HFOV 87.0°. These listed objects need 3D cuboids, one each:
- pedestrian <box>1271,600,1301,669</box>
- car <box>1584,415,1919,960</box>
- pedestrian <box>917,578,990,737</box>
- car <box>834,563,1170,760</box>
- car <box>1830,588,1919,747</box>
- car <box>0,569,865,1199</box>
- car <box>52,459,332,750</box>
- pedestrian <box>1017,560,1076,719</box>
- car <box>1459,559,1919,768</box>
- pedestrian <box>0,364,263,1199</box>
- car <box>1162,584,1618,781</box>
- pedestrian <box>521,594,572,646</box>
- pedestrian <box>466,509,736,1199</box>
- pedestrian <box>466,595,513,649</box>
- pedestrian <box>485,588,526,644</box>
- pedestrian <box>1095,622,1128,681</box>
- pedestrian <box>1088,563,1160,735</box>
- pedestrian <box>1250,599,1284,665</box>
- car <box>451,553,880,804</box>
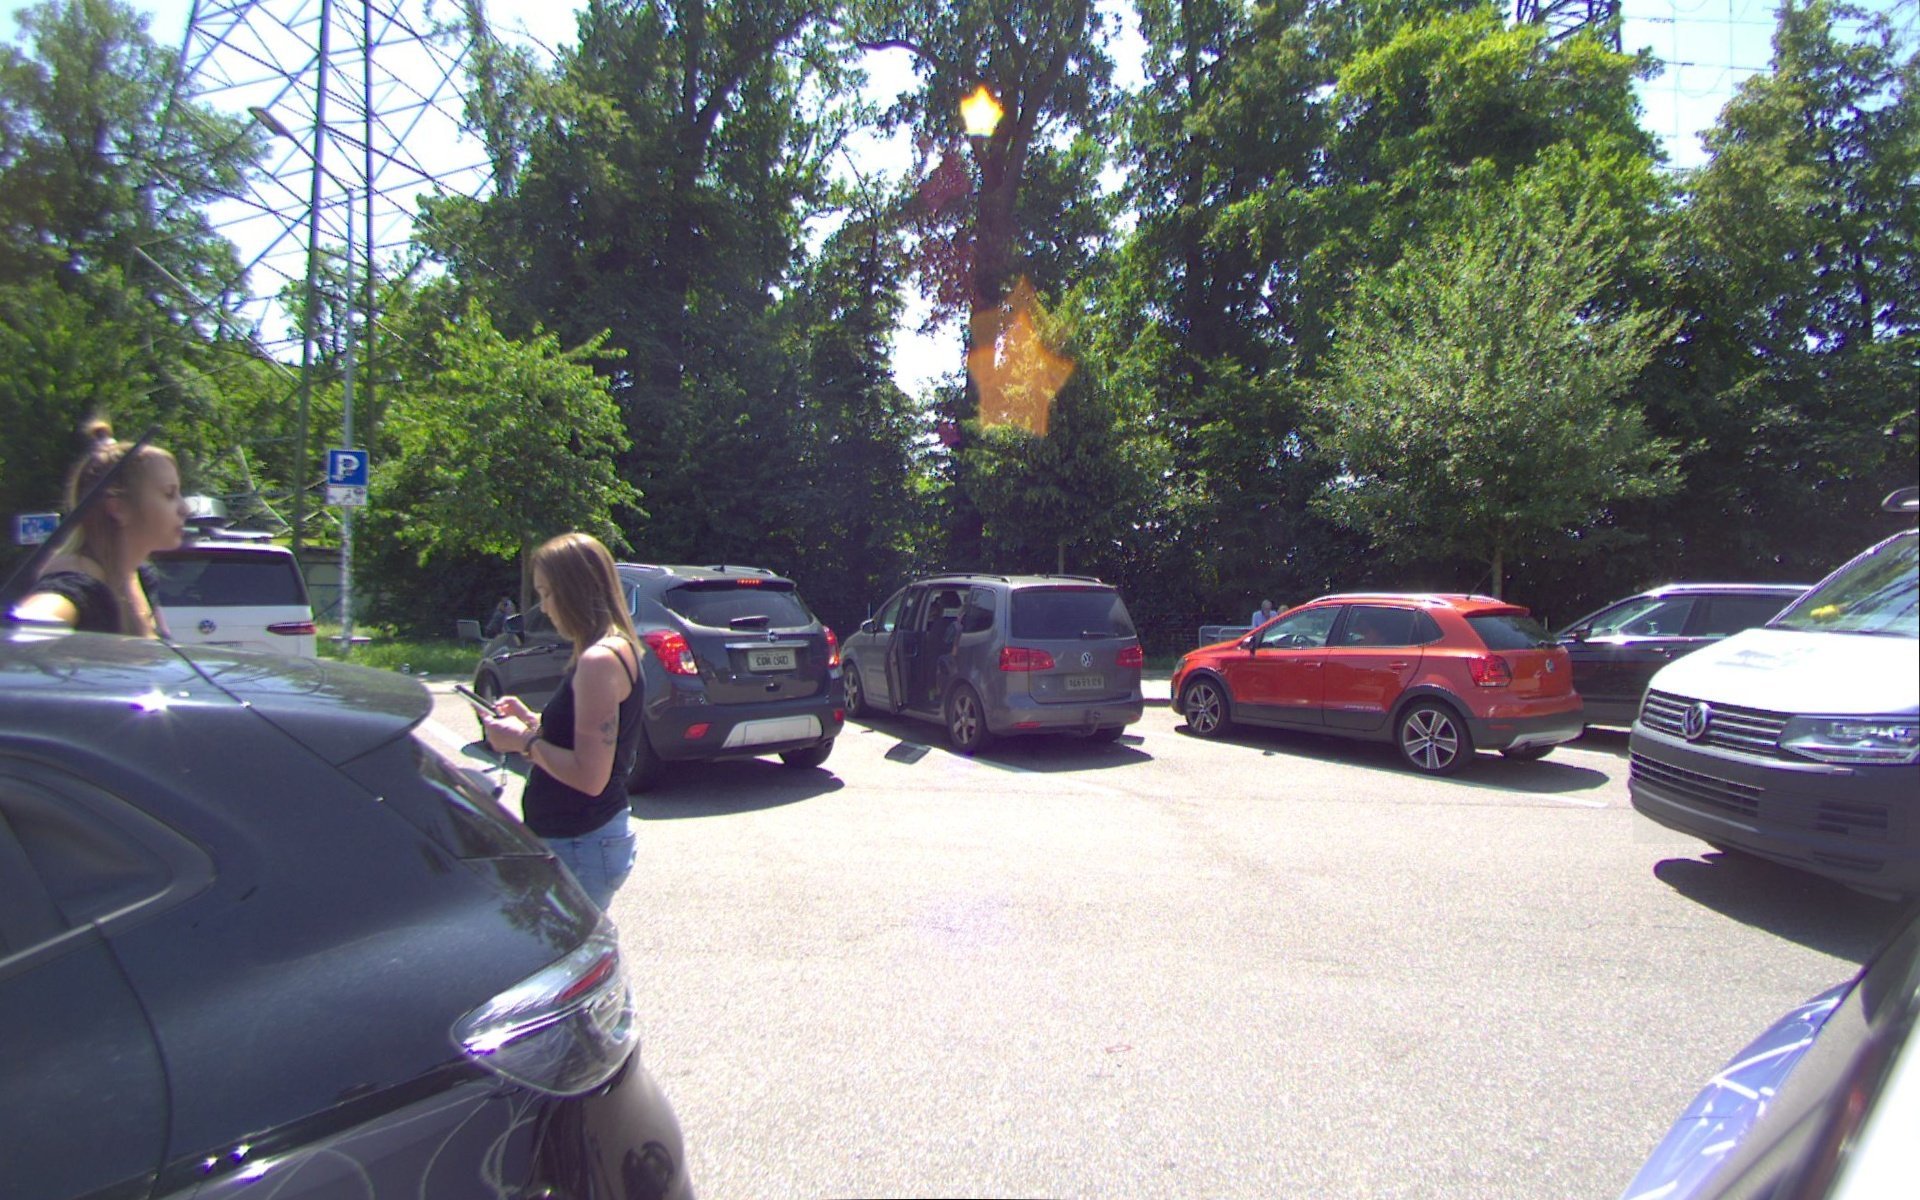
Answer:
[{"bbox_3d":[5.805,0.605,18.020,0.348,1.207,0.367,0,0,-20],"label":"pedestrian"},{"bbox_3d":[6.207,0.360,4.690,5.336,2.131,1.842,1,1,4],"label":"car"},{"bbox_3d":[-0.068,0.548,10.044,0.511,1.516,0.560,0,0,-30],"label":"pedestrian"},{"bbox_3d":[0.226,0.499,10.531,1.670,1.637,3.912,0,0,-30],"label":"car"},{"bbox_3d":[10.347,0.644,8.921,1.813,1.473,3.776,1,0,-36],"label":"car"},{"bbox_3d":[-2.018,0.719,0.819,1.776,1.476,3.629,0,1,43],"label":"car"},{"bbox_3d":[-8.372,0.028,10.819,1.897,2.400,4.963,1,-1,-43],"label":"car"},{"bbox_3d":[0.970,0.432,11.409,0.500,1.744,0.438,0,0,-24],"label":"pedestrian"},{"bbox_3d":[7.130,0.497,9.709,1.679,1.637,3.863,1,0,-40],"label":"car"},{"bbox_3d":[-1.978,0.488,2.397,0.478,1.883,0.913,1,-1,-33],"label":"pedestrian"},{"bbox_3d":[3.852,0.618,9.644,1.588,1.485,3.751,1,0,-34],"label":"car"},{"bbox_3d":[-9.657,0.453,23.650,0.810,1.201,0.836,0,0,40],"label":"pedestrian"},{"bbox_3d":[-0.932,0.600,2.624,0.477,1.614,0.502,1,-1,-44],"label":"pedestrian"},{"bbox_3d":[-10.573,0.473,22.743,0.785,1.178,0.696,0,0,39],"label":"pedestrian"},{"bbox_3d":[-11.001,0.379,24.494,0.539,1.318,0.758,0,0,37],"label":"pedestrian"},{"bbox_3d":[2.365,0.790,15.777,0.494,0.890,0.512,0,0,10],"label":"pedestrian"},{"bbox_3d":[1.709,0.492,10.578,0.576,1.744,0.483,0,0,-20],"label":"pedestrian"},{"bbox_3d":[5.782,0.596,19.051,0.433,1.207,0.414,0,0,-30],"label":"pedestrian"},{"bbox_3d":[-2.719,0.503,8.719,1.808,1.637,4.156,1,0,-44],"label":"car"}]
